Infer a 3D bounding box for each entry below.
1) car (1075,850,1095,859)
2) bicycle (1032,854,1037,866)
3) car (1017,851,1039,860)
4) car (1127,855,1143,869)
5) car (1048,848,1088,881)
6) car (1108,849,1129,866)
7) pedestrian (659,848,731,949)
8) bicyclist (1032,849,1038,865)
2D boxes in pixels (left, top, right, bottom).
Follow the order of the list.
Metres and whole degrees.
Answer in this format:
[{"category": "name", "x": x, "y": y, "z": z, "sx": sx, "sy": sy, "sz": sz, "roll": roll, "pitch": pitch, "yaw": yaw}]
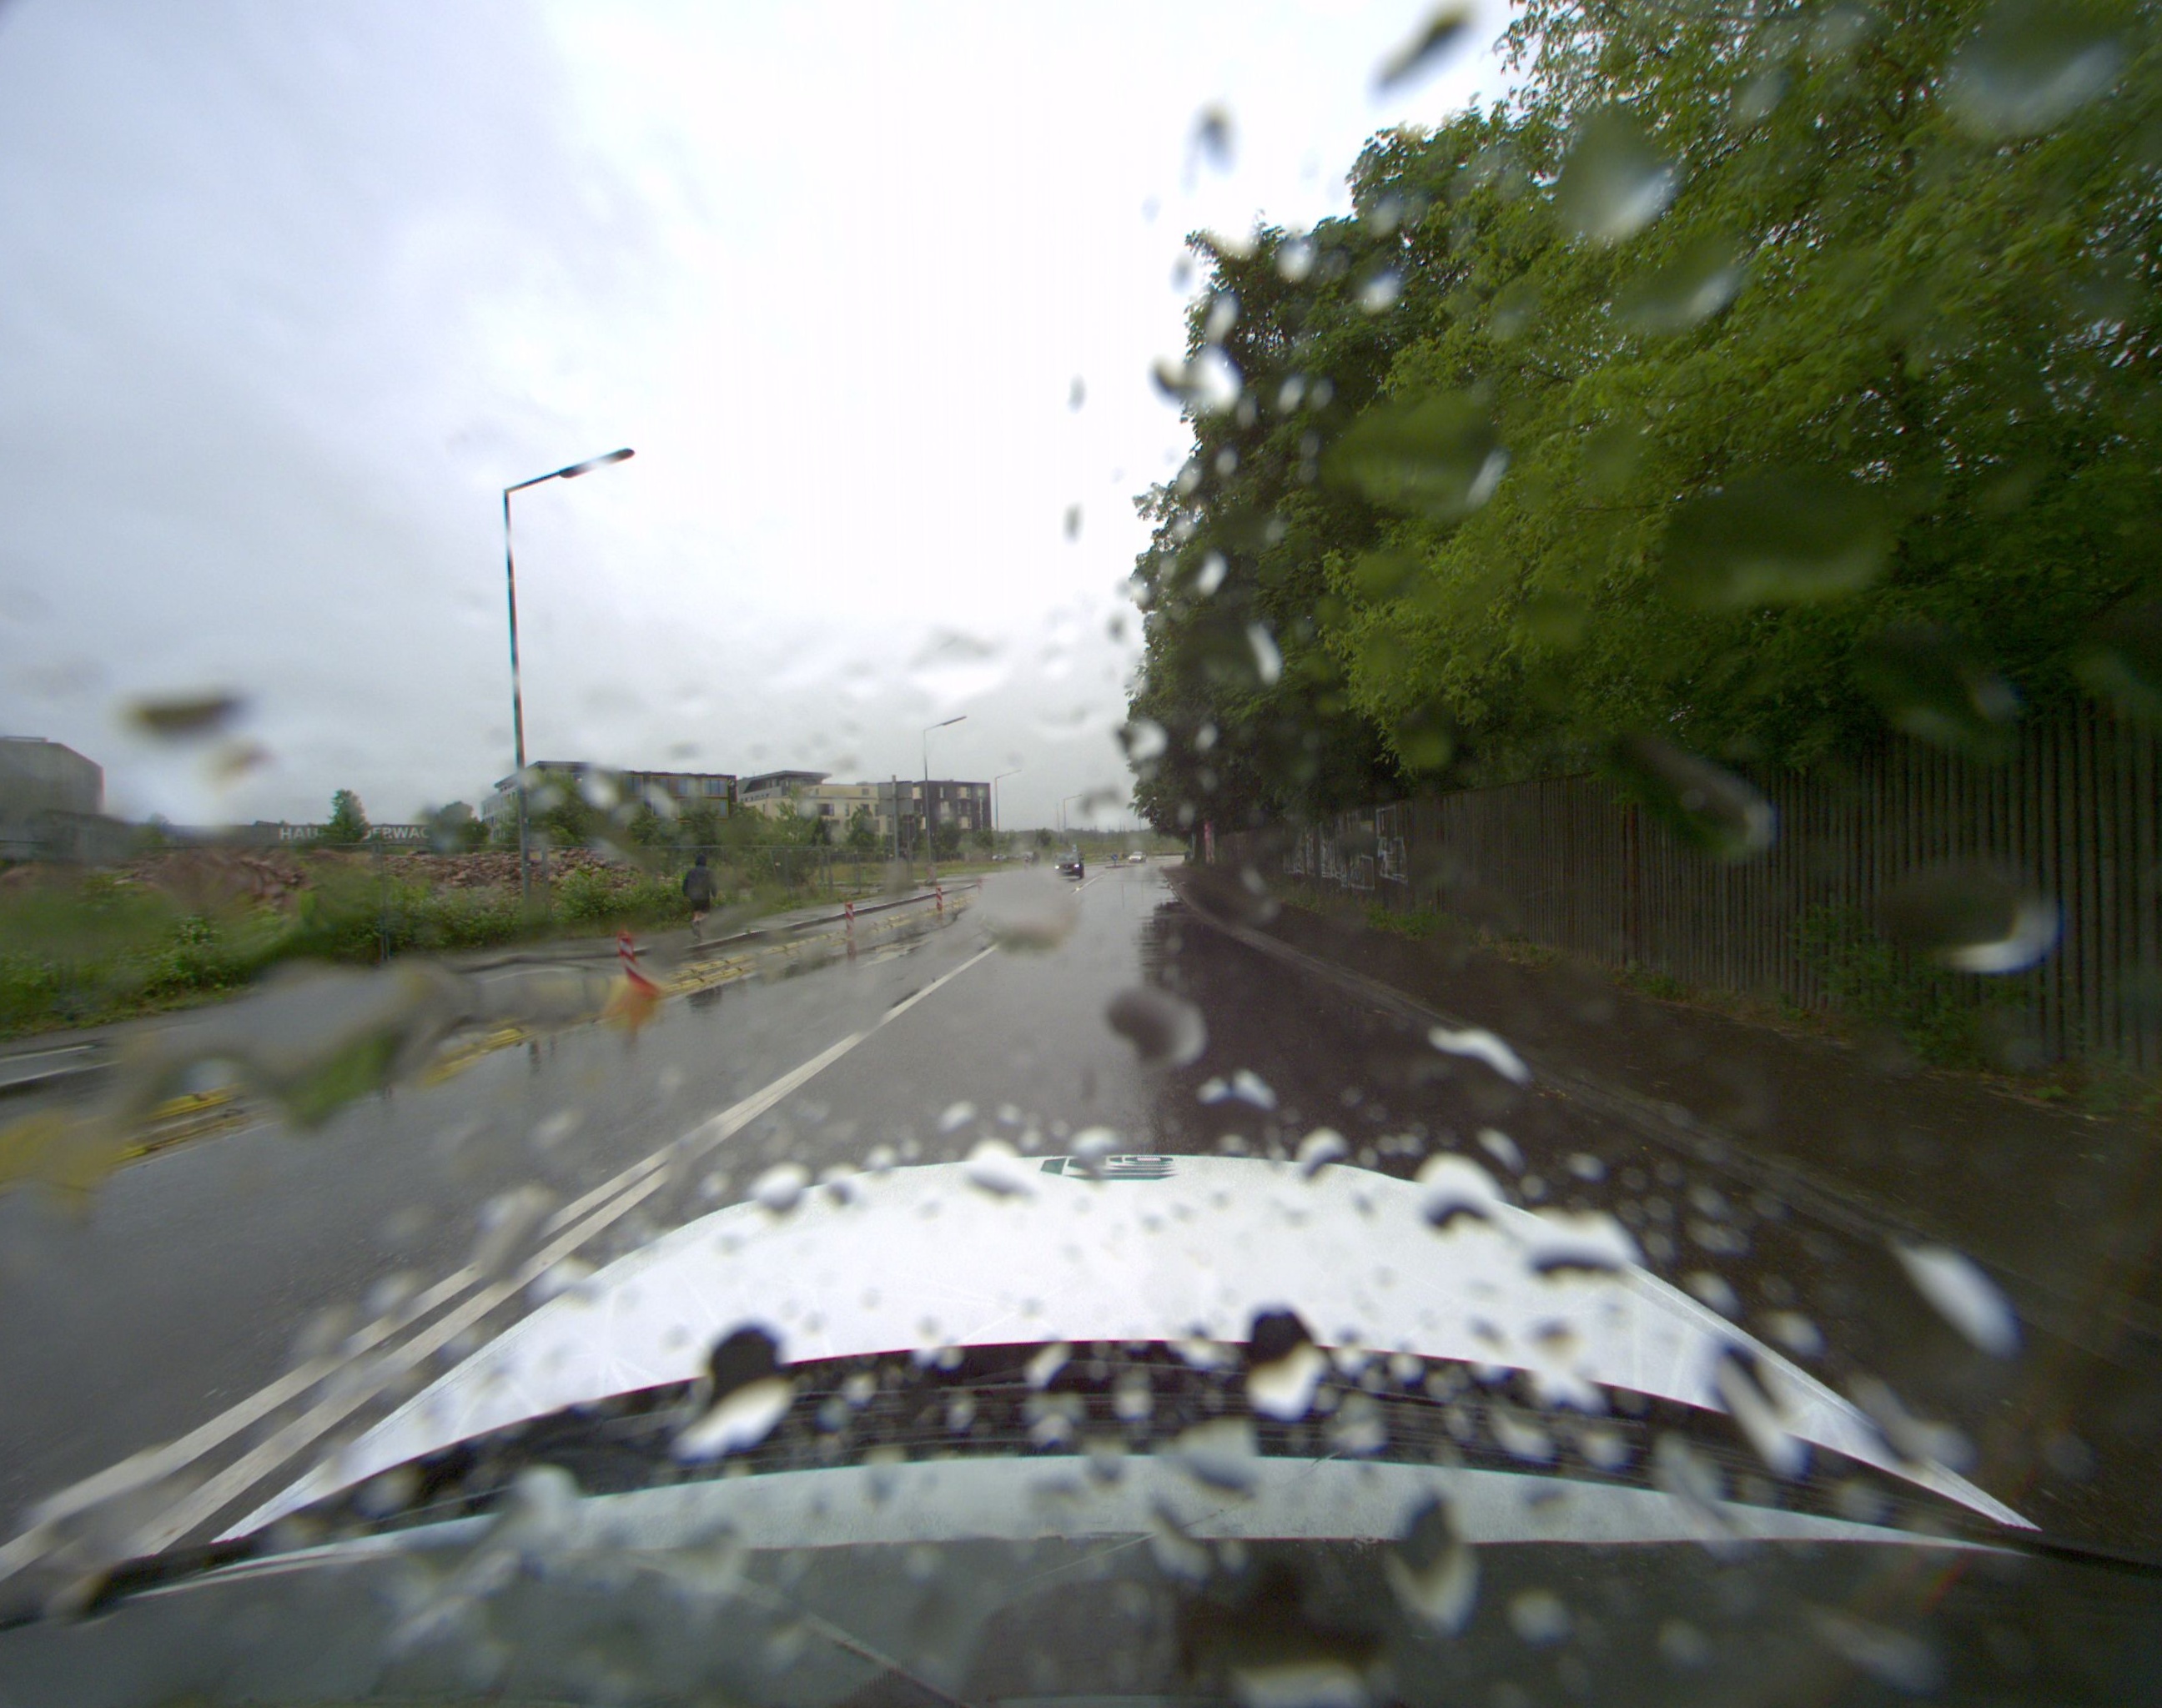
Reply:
[{"category": "car", "x": 0.834, "y": 0.117, "z": 180.129, "sx": 4.021, "sy": 1.772, "sz": 1.976, "roll": 0, "pitch": -3, "yaw": -41}, {"category": "bicycle", "x": -4.347, "y": 0.562, "z": 76.444, "sx": 0.426, "sy": 1.019, "sz": 1.611, "roll": -2, "pitch": 0, "yaw": -2}, {"category": "car", "x": -10.573, "y": 0.310, "z": 161.944, "sx": 4.021, "sy": 1.772, "sz": 1.976, "roll": 0, "pitch": -3, "yaw": -41}, {"category": "car", "x": 7.568, "y": 1.140, "z": 113.589, "sx": 1.983, "sy": 1.772, "sz": 4.006, "roll": -2, "pitch": -2, "yaw": 6}, {"category": "car", "x": -0.699, "y": 0.574, "z": 47.605, "sx": 1.985, "sy": 1.772, "sz": 4.003, "roll": -2, "pitch": 0, "yaw": 3}, {"category": "car", "x": 4.246, "y": 0.411, "z": 91.066, "sx": 1.983, "sy": 1.772, "sz": 4.006, "roll": -2, "pitch": -2, "yaw": 6}, {"category": "pedestrian", "x": -8.057, "y": 0.922, "z": 17.056, "sx": 0.841, "sy": 2.014, "sz": 1.134, "roll": -2, "pitch": -2, "yaw": 7}, {"category": "bicyclist", "x": -4.323, "y": 0.280, "z": 76.507, "sx": 0.442, "sy": 1.404, "sz": 0.550, "roll": -2, "pitch": -2, "yaw": 0}]
